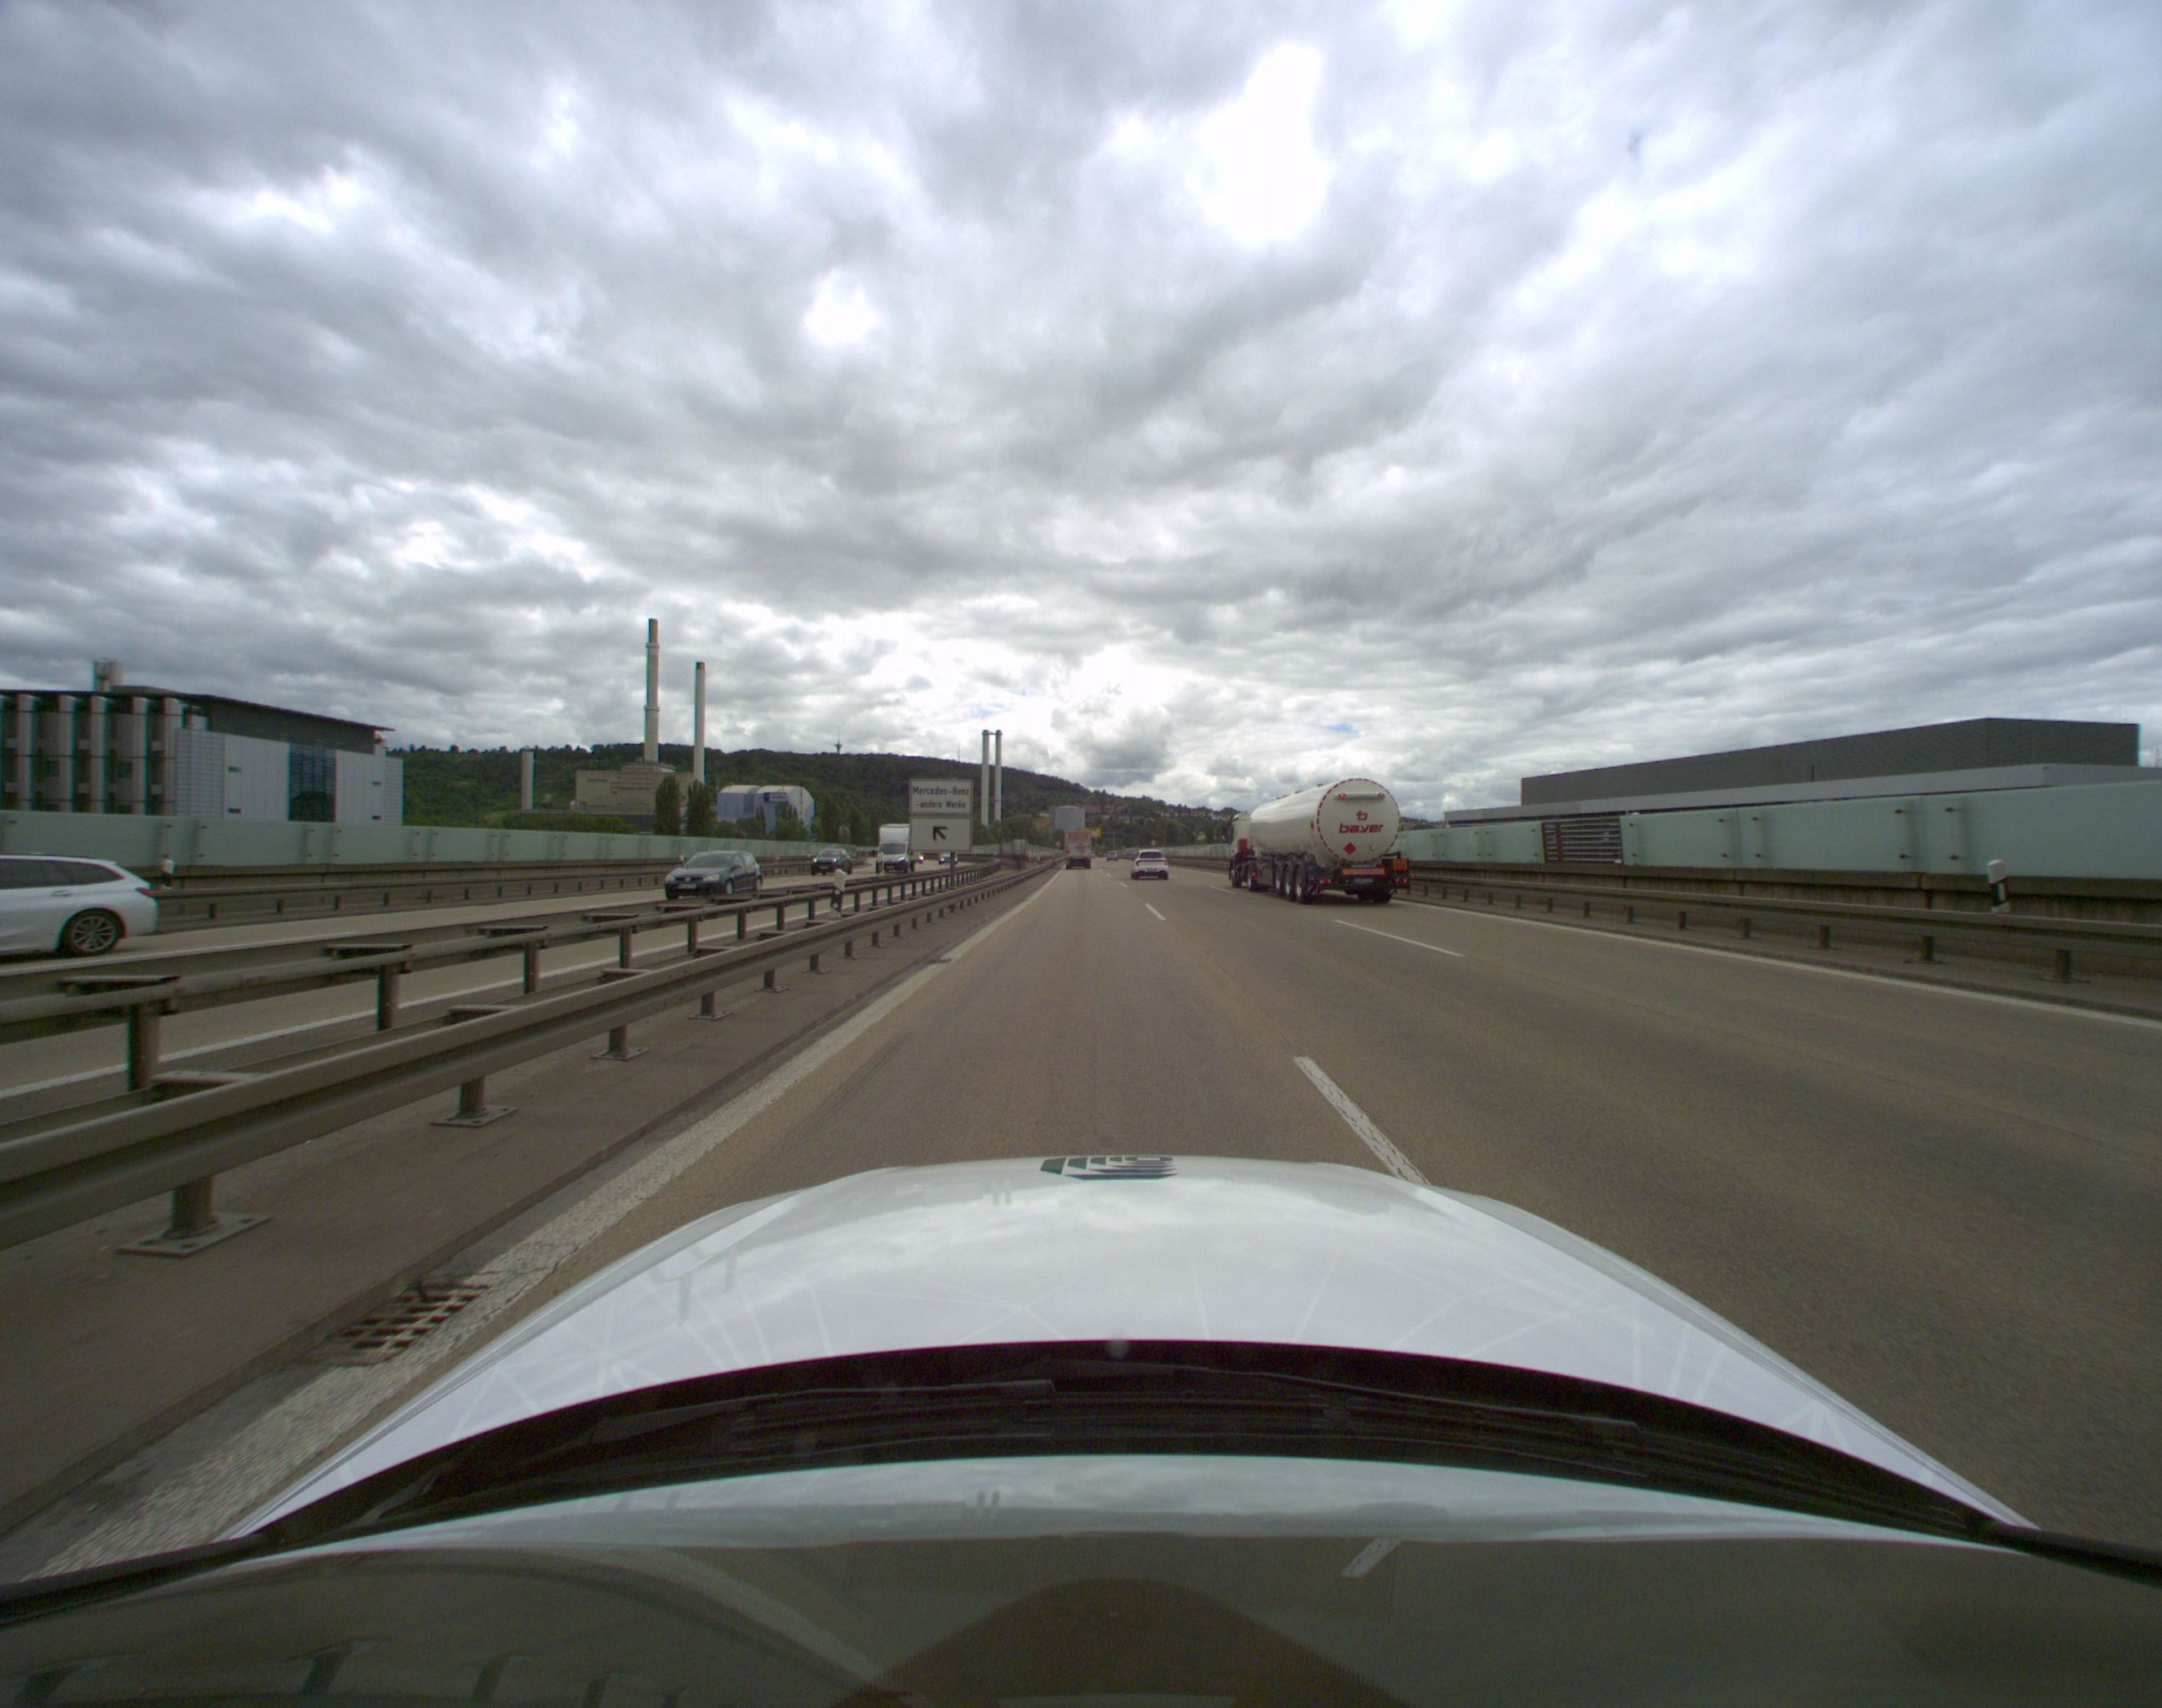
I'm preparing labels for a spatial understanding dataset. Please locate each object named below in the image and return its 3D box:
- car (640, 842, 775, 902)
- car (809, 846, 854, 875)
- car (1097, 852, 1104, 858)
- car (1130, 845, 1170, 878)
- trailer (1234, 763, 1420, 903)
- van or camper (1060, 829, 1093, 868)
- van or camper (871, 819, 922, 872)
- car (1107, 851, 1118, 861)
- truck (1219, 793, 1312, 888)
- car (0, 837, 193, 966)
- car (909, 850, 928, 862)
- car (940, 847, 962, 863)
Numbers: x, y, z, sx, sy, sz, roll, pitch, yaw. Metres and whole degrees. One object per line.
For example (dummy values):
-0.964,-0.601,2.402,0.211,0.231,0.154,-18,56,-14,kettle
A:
-11.316,0.489,25.093,2.017,1.611,4.811,-1,0,-2,car
-15.583,0.352,51.036,1.751,1.748,4.362,-1,1,-4,car
5.751,0.251,242.869,1.917,1.785,4.113,0,0,0,car
3.848,0.403,45.993,1.917,1.785,4.113,0,0,0,car
7.314,-0.519,26.363,2.641,3.543,11.218,0,0,0,trailer
-0.354,-0.525,80.331,3.111,3.579,8.551,-1,0,1,van or camper
-12.606,-0.545,56.084,2.400,3.387,6.943,0,0,-5,van or camper
5.591,0.372,143.646,1.916,1.785,4.116,0,0,3,car
7.306,-0.511,32.836,2.622,3.514,4.903,-1,0,0,truck
-14.504,0.616,9.968,1.911,1.611,4.814,-1,0,1,car
-20.286,0.212,101.816,1.756,1.431,4.391,0,0,-4,car
-14.357,0.068,90.018,1.840,1.673,4.403,0,0,-3,car
